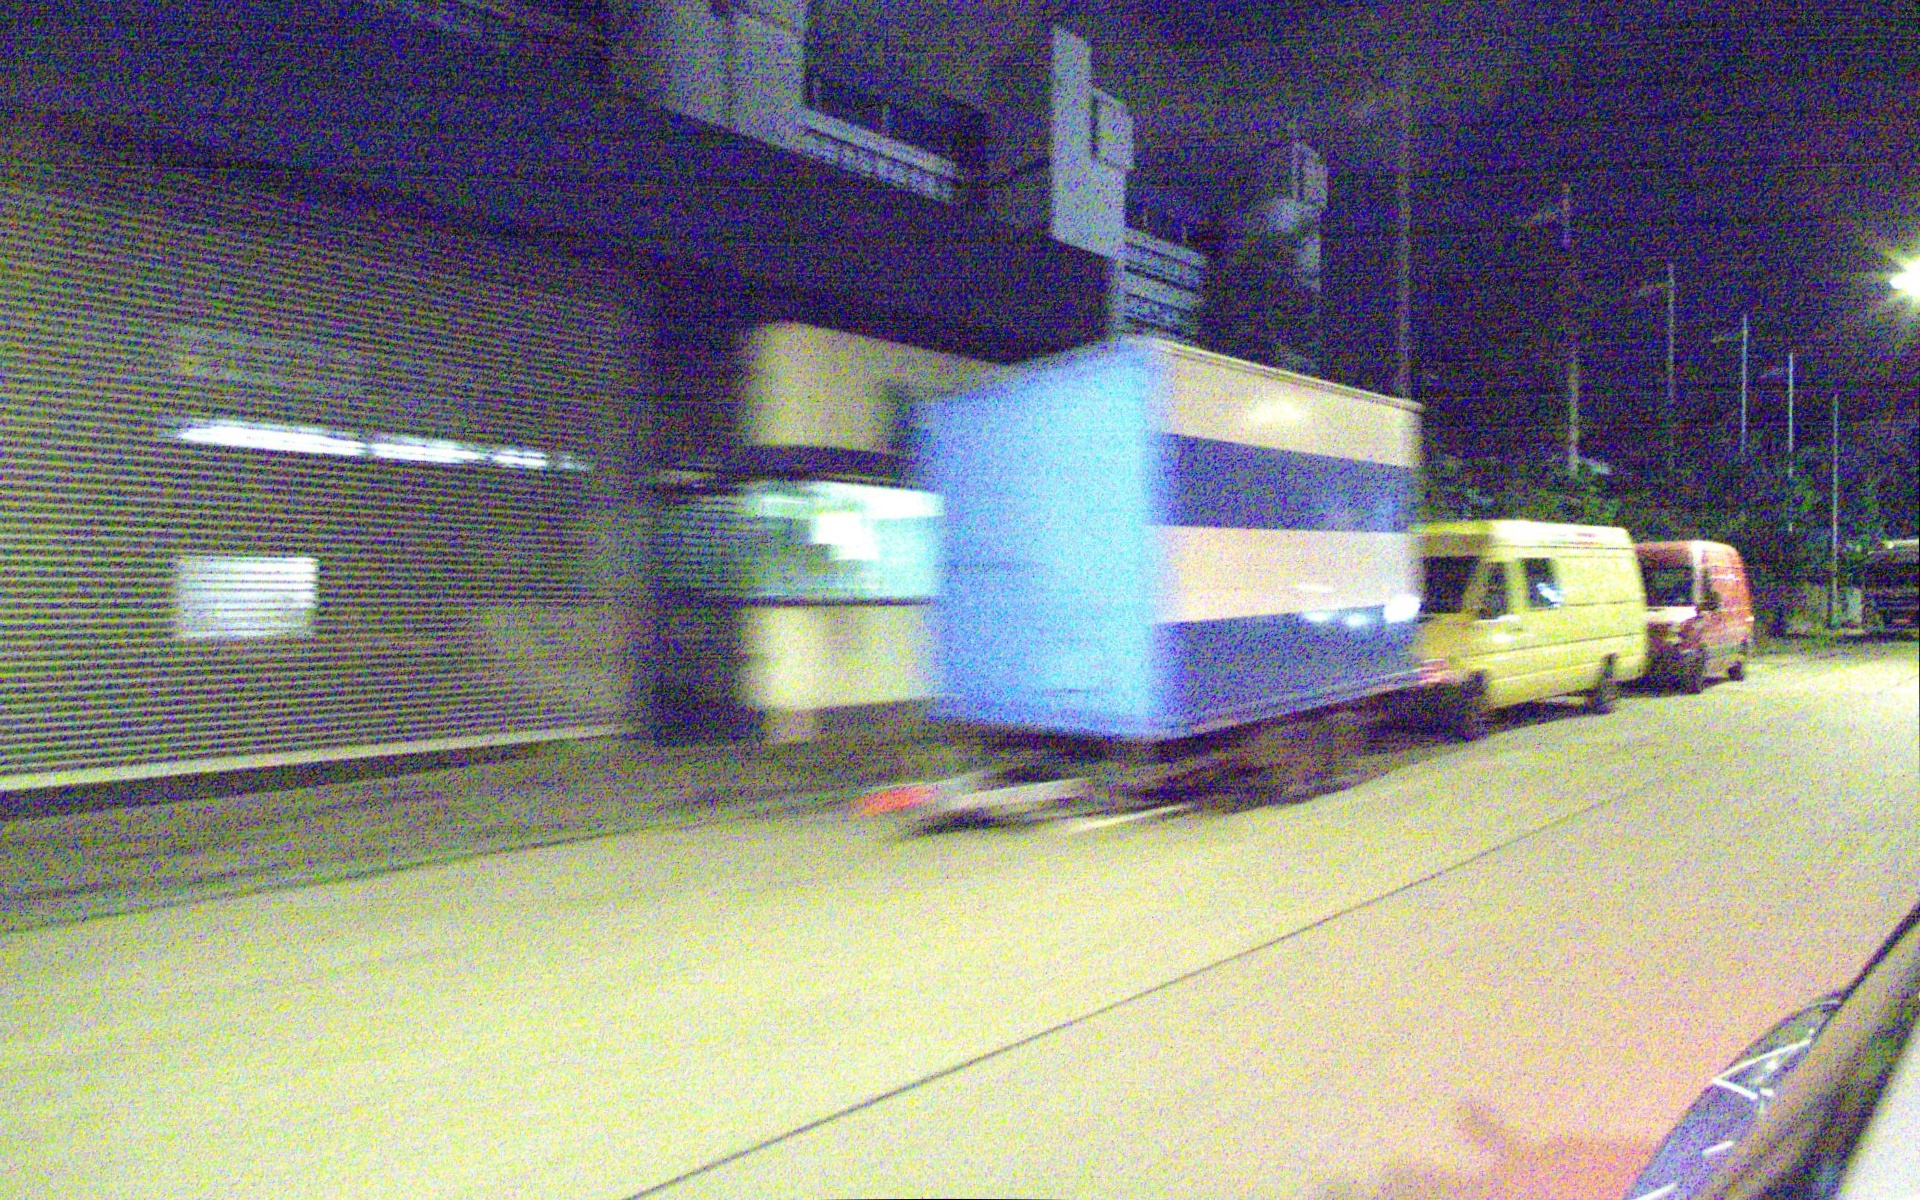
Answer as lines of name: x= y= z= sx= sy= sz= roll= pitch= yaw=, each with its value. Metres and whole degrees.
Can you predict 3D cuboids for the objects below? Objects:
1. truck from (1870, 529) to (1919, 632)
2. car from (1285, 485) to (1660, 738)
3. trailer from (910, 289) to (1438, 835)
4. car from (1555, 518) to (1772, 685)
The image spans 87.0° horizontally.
truck: x=41.048 y=-0.780 z=41.899 sx=12.420 sy=3.886 sz=2.517 roll=0 pitch=0 yaw=-36
car: x=6.924 y=0.101 z=13.178 sx=6.528 sy=2.580 sz=1.944 roll=0 pitch=0 yaw=-40
trailer: x=1.975 y=-0.250 z=8.607 sx=4.289 sy=3.368 sz=2.400 roll=0 pitch=0 yaw=-43
car: x=12.927 y=0.000 z=18.401 sx=5.923 sy=2.580 sz=1.996 roll=0 pitch=0 yaw=-43
